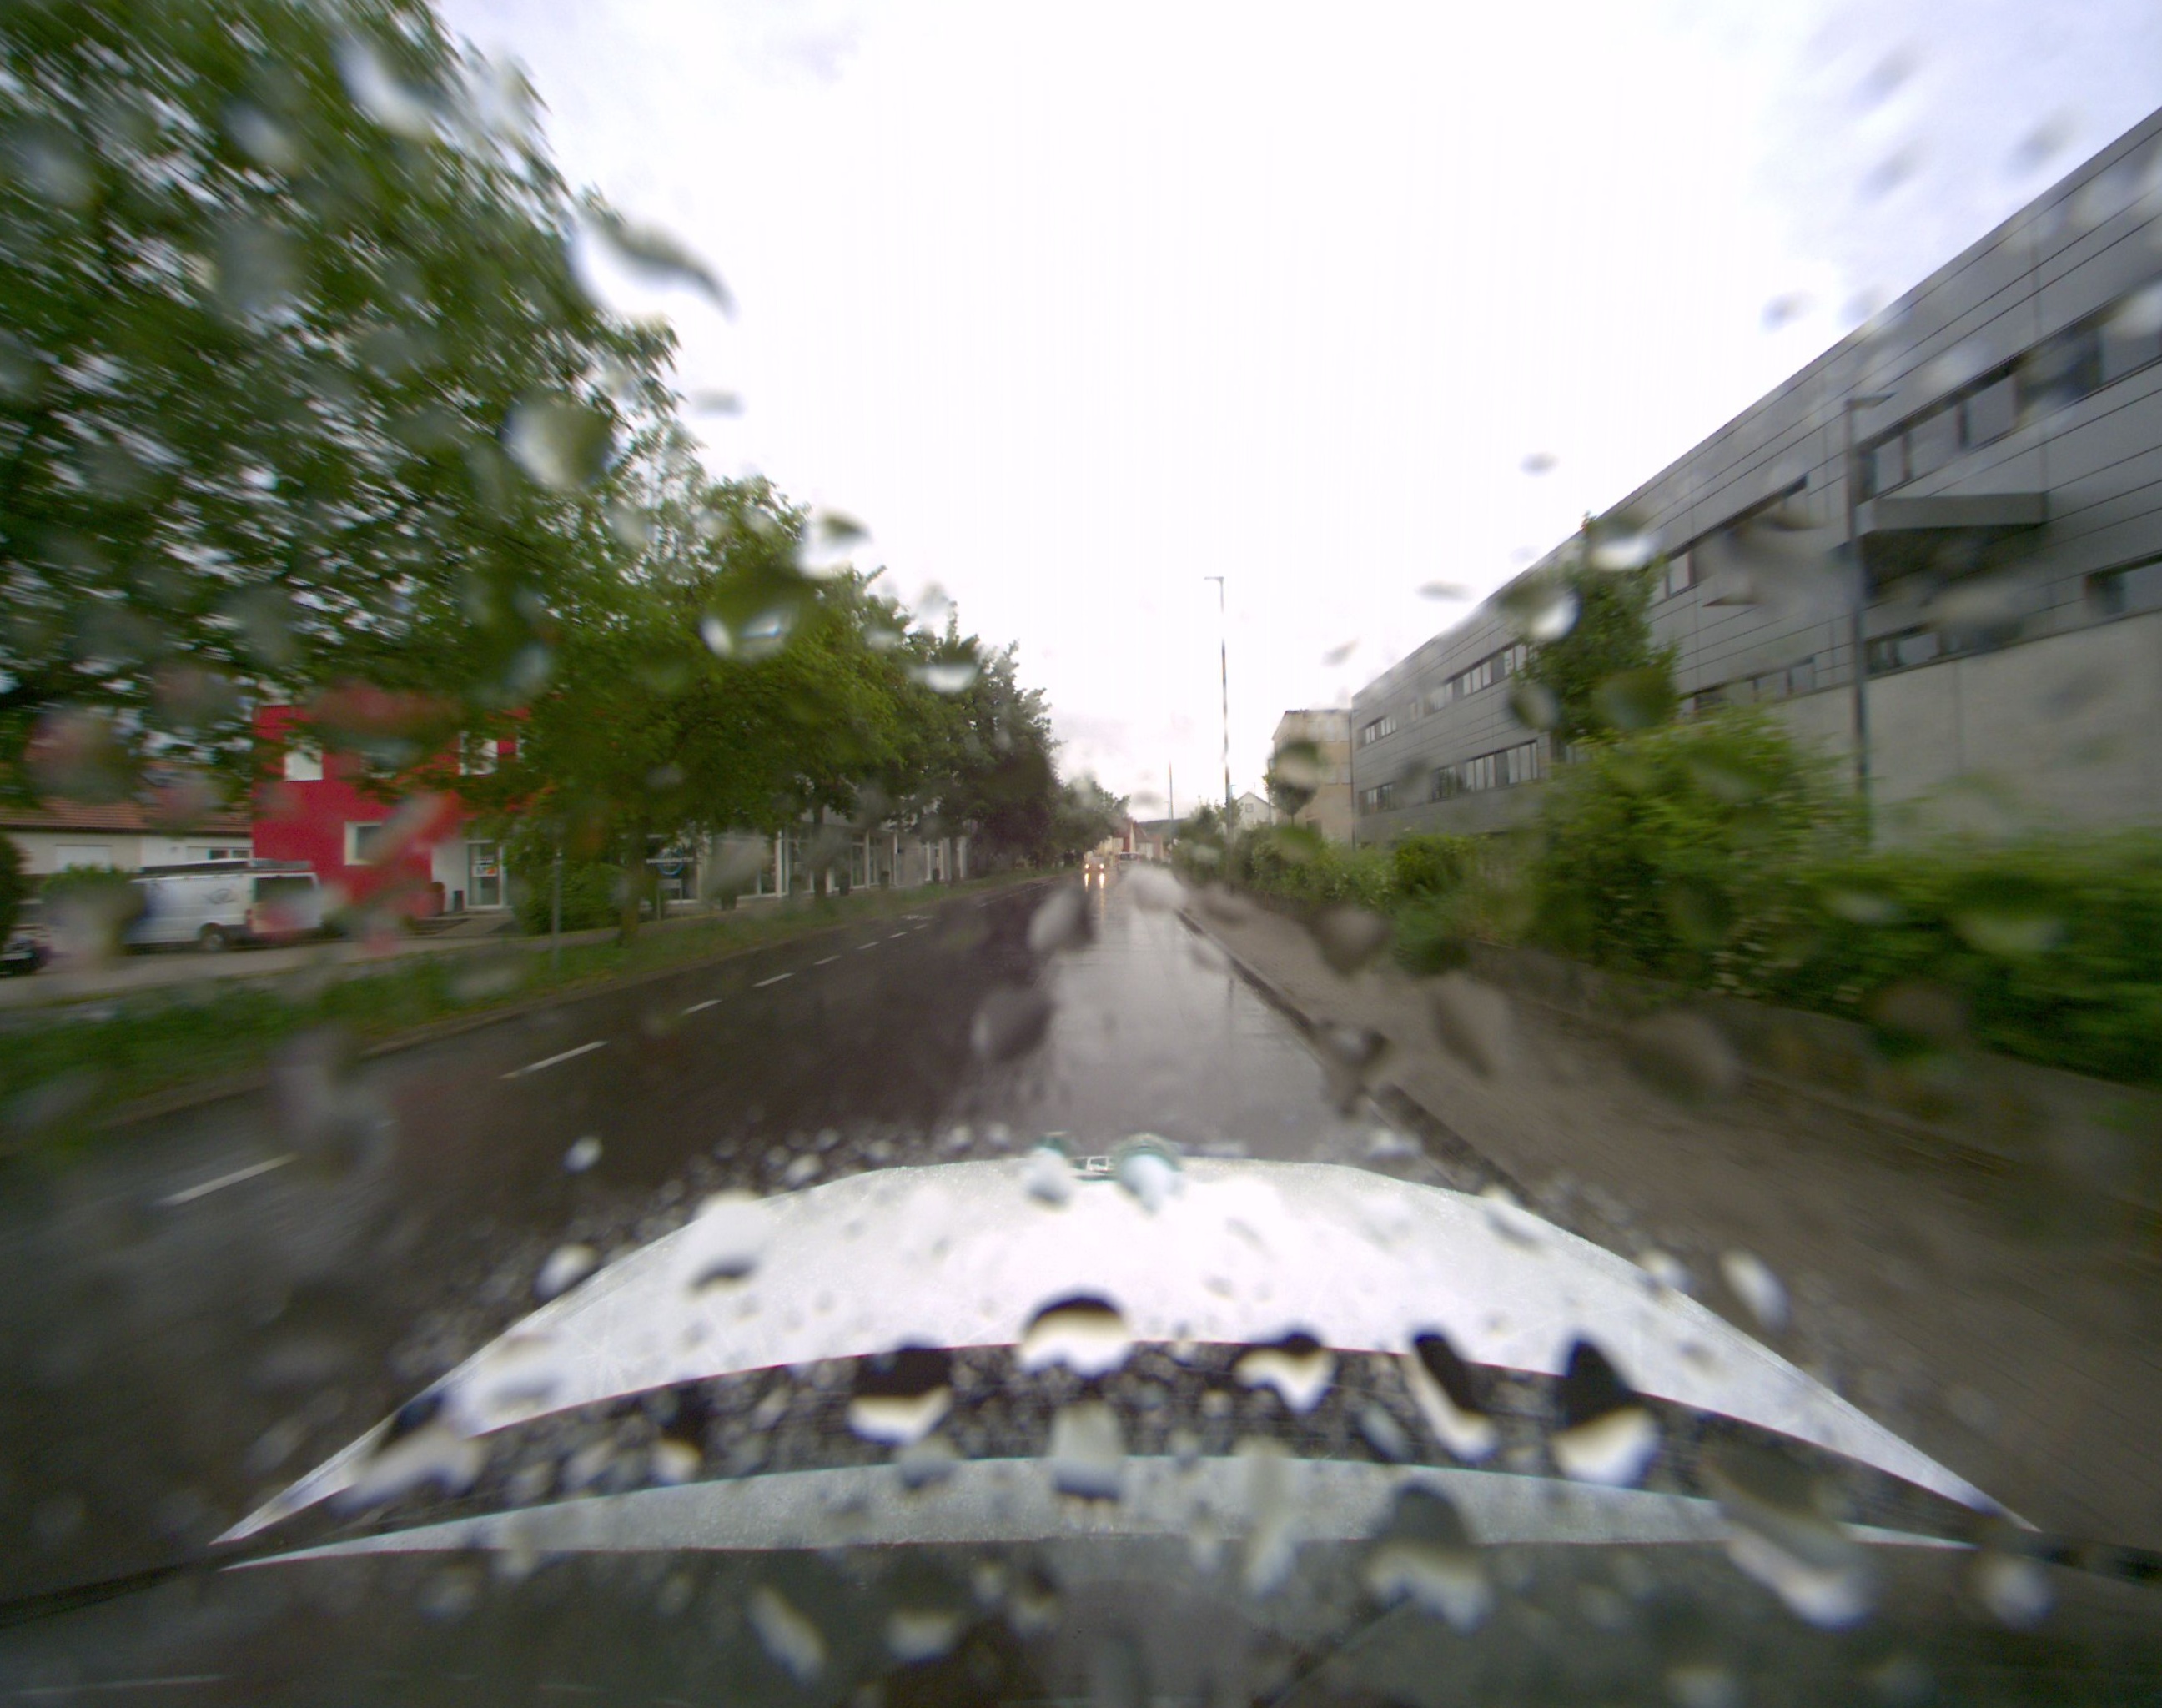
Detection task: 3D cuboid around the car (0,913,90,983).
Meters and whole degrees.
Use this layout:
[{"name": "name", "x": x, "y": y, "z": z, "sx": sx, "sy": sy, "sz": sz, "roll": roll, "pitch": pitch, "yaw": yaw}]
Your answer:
[{"name": "car", "x": -22.496, "y": 1.883, "z": 16.171, "sx": 3.391, "sy": 1.244, "sz": 1.704, "roll": -1, "pitch": 0, "yaw": -2}]

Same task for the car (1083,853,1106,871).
[{"name": "car", "x": 1.331, "y": 0.738, "z": 78.510, "sx": 1.842, "sy": 1.554, "sz": 4.507, "roll": -1, "pitch": 1, "yaw": 4}]

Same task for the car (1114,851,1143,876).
[{"name": "car", "x": 3.759, "y": 0.732, "z": 65.099, "sx": 2.109, "sy": 1.888, "sz": 4.504, "roll": -1, "pitch": 1, "yaw": 2}]

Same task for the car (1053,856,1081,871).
[{"name": "car", "x": -1.518, "y": 1.021, "z": 89.336, "sx": 2.894, "sy": 1.455, "sz": 1.254, "roll": -3, "pitch": -4, "yaw": 5}]

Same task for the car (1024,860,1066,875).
[{"name": "car", "x": -3.578, "y": 1.317, "z": 80.887, "sx": 3.882, "sy": 1.284, "sz": 1.584, "roll": -3, "pitch": -2, "yaw": 5}]

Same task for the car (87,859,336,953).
[{"name": "car", "x": -23.075, "y": 1.332, "z": 21.741, "sx": 4.456, "sy": 2.310, "sz": 2.188, "roll": -1, "pitch": 0, "yaw": 4}]
